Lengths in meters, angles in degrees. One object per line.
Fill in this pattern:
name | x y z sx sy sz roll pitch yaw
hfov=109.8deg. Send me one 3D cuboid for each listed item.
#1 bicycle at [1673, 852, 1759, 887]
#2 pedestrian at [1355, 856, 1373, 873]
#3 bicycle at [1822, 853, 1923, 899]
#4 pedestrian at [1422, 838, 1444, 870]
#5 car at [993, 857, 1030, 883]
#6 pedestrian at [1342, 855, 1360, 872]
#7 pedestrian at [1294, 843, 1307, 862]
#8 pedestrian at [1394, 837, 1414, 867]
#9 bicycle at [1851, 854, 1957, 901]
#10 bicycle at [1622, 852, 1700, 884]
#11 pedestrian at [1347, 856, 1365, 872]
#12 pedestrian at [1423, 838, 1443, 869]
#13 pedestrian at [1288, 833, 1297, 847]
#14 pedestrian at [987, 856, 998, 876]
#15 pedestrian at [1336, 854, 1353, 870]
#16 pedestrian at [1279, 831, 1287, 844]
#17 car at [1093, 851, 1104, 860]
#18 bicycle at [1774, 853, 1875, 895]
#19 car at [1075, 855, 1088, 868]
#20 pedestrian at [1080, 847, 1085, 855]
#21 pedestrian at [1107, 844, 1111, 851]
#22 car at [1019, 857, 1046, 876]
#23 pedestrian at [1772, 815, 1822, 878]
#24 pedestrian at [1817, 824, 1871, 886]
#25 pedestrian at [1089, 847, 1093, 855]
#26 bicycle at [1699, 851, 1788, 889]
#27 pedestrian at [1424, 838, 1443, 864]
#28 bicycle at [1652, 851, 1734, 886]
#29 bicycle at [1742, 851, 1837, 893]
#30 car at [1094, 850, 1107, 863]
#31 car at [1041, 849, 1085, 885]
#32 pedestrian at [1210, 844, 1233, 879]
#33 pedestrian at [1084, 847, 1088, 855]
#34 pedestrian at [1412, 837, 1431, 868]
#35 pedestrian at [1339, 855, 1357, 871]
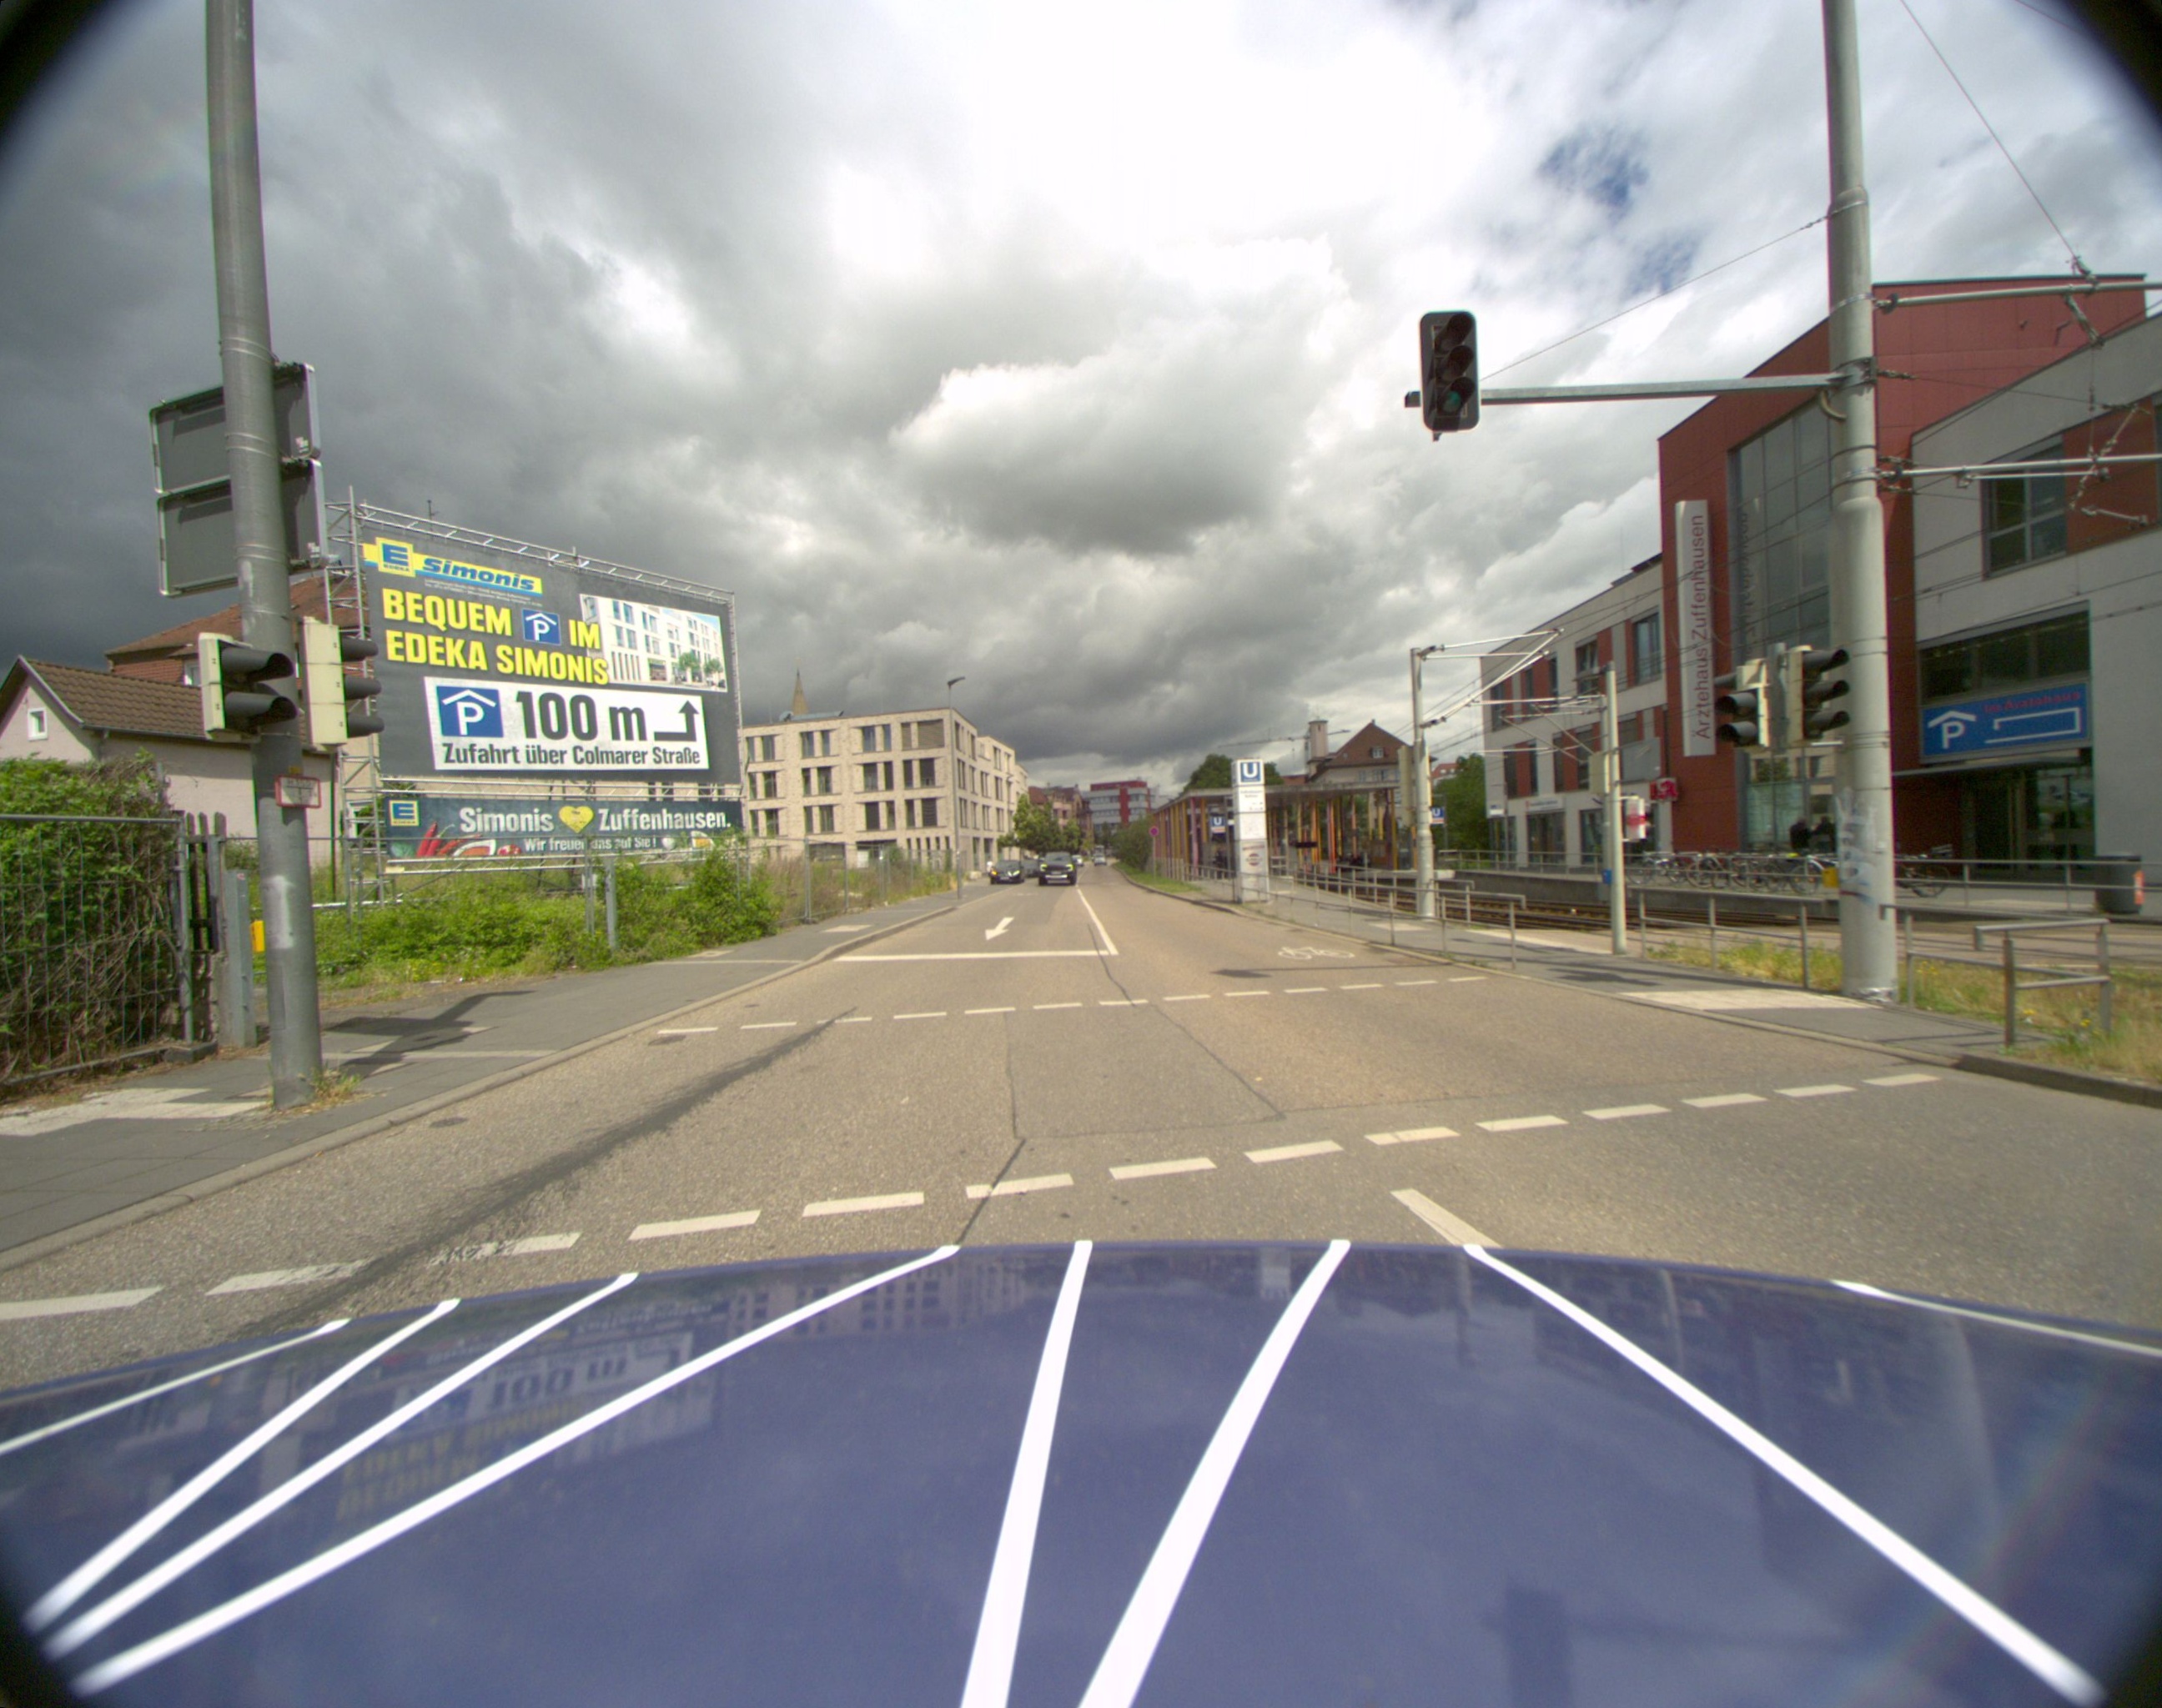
bicycle | 17.555 0.425 21.024 1.861 0.917 0.455 -2 1 8
pedestrian | 19.248 0.702 51.686 0.943 1.128 0.886 -2 0 2
bicycle | 17.701 0.492 17.000 1.739 0.952 0.428 -2 1 3
pedestrian | 21.868 -0.037 47.233 0.864 1.957 1.106 -1 2 3
car | -4.173 0.962 46.110 1.677 1.415 3.794 -1 1 3
pedestrian | 19.068 0.670 53.599 0.943 1.128 0.886 -2 0 2
pedestrian | 23.878 -0.170 82.815 1.127 2.002 1.179 -1 0 6
pedestrian | 21.760 -0.155 51.188 0.864 1.957 1.105 -1 2 -1
bicycle | 17.713 0.505 16.367 1.739 0.947 0.428 -2 1 3
bicycle | 17.520 0.425 22.981 1.861 0.876 0.455 -2 1 9
pedestrian | 19.052 0.688 52.641 0.943 1.128 0.886 -2 0 2
pedestrian | 23.218 -0.040 50.122 0.863 1.957 1.106 -1 2 6
pedestrian | 31.286 -2.033 112.424 1.125 2.002 1.662 -1 0 14
pedestrian | -6.854 0.926 58.779 0.673 1.503 0.782 -2 0 1
pedestrian | 19.283 0.594 55.685 0.943 1.128 0.886 -2 0 2
pedestrian | 32.452 -2.646 122.080 1.127 2.002 0.815 -1 0 6
car | 2.871 0.206 123.322 1.678 1.425 3.794 -2 1 0
bicycle | 17.634 0.472 18.040 1.862 0.930 0.454 -2 1 3
car | 0.111 0.996 102.194 1.719 1.541 3.793 -1 0 1
pedestrian | 0.227 -0.546 134.653 0.673 1.503 0.783 -1 0 16
pedestrian | 6.020 -1.341 163.039 0.673 1.503 0.783 -1 0 11
car | -3.822 0.987 59.954 1.677 1.367 3.795 -2 0 3
pedestrian | 21.998 -0.237 23.342 0.881 1.835 0.862 -4 3 -27
pedestrian | 21.325 0.027 21.239 0.790 1.688 0.933 -2 2 -34
pedestrian | 1.918 -0.626 146.556 0.673 1.503 0.783 -2 0 3
bicycle | 17.537 0.432 20.123 1.861 0.934 0.454 -2 1 5
pedestrian | 27.187 -0.259 58.603 0.866 1.957 1.103 -2 2 -44
bicycle | 17.580 0.411 21.853 1.861 0.927 0.455 -2 1 9
bicycle | 17.671 0.441 18.972 1.862 0.957 0.454 -2 1 3
car | 2.657 0.267 101.901 1.588 1.528 3.946 -5 1 1
car | -0.979 0.678 43.580 2.003 1.876 5.151 -1 1 4
pedestrian | 7.687 0.399 41.643 1.105 1.903 0.864 -1 2 2
pedestrian | 1.022 -0.630 146.675 0.673 1.503 0.783 -2 0 3
pedestrian | 22.480 -0.110 50.205 0.863 1.957 1.106 -1 2 6
pedestrian | 19.164 0.651 54.589 0.943 1.128 0.886 -2 0 2
